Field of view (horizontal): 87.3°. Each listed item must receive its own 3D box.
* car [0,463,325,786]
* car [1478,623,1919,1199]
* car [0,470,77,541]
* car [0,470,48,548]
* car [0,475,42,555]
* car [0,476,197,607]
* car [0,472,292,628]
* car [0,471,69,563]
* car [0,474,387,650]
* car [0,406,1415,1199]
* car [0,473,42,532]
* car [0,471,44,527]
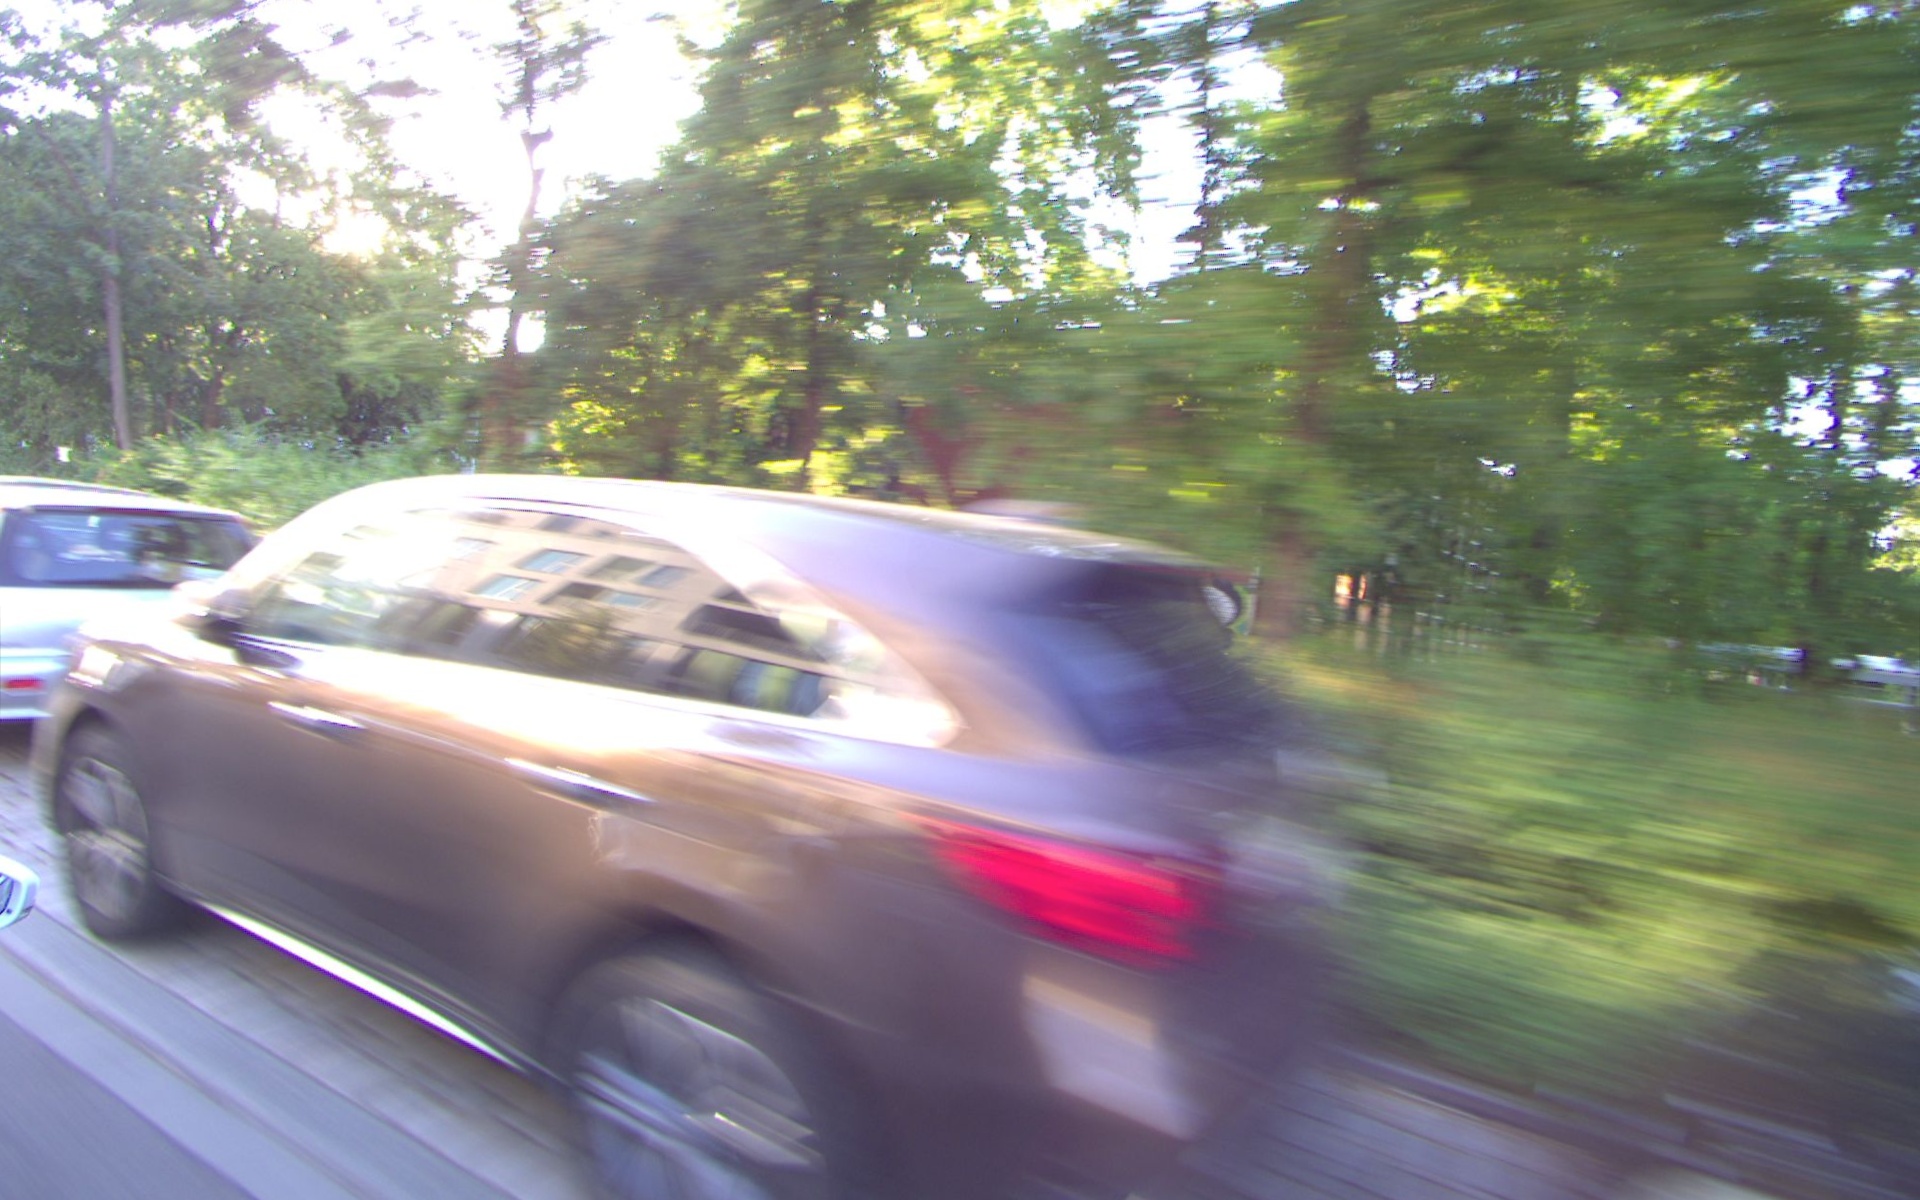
[{"bbox_3d":[-6.107,-0.050,6.622,4.232,1.588,1.650,7,1,34],"label":"car"},{"bbox_3d":[2.513,0.994,1.096,3.363,1.506,1.620,7,1,33],"label":"car"},{"bbox_3d":[-22.875,-2.274,23.078,1.794,1.519,3.716,7,3,40],"label":"car"},{"bbox_3d":[-21.426,-2.026,20.730,1.709,1.574,3.659,8,4,38],"label":"car"},{"bbox_3d":[-19.701,-1.726,18.698,1.709,1.465,3.659,8,4,38],"label":"car"},{"bbox_3d":[-12.700,-0.856,13.633,1.646,1.545,3.383,6,0,37],"label":"car"},{"bbox_3d":[-10.592,-0.635,12.316,1.647,1.559,3.623,8,1,40],"label":"car"},{"bbox_3d":[-17.848,-1.543,17.260,1.646,1.547,3.603,8,4,38],"label":"car"},{"bbox_3d":[-8.654,-0.382,10.782,1.714,1.531,3.945,7,1,39],"label":"car"},{"bbox_3d":[-1.155,0.461,3.381,4.587,1.771,1.924,7,1,30],"label":"car"},{"bbox_3d":[-26.651,-2.704,26.254,1.731,1.495,3.798,7,3,40],"label":"car"},{"bbox_3d":[-28.513,-2.988,28.350,1.805,1.495,3.798,7,3,40],"label":"car"}]
